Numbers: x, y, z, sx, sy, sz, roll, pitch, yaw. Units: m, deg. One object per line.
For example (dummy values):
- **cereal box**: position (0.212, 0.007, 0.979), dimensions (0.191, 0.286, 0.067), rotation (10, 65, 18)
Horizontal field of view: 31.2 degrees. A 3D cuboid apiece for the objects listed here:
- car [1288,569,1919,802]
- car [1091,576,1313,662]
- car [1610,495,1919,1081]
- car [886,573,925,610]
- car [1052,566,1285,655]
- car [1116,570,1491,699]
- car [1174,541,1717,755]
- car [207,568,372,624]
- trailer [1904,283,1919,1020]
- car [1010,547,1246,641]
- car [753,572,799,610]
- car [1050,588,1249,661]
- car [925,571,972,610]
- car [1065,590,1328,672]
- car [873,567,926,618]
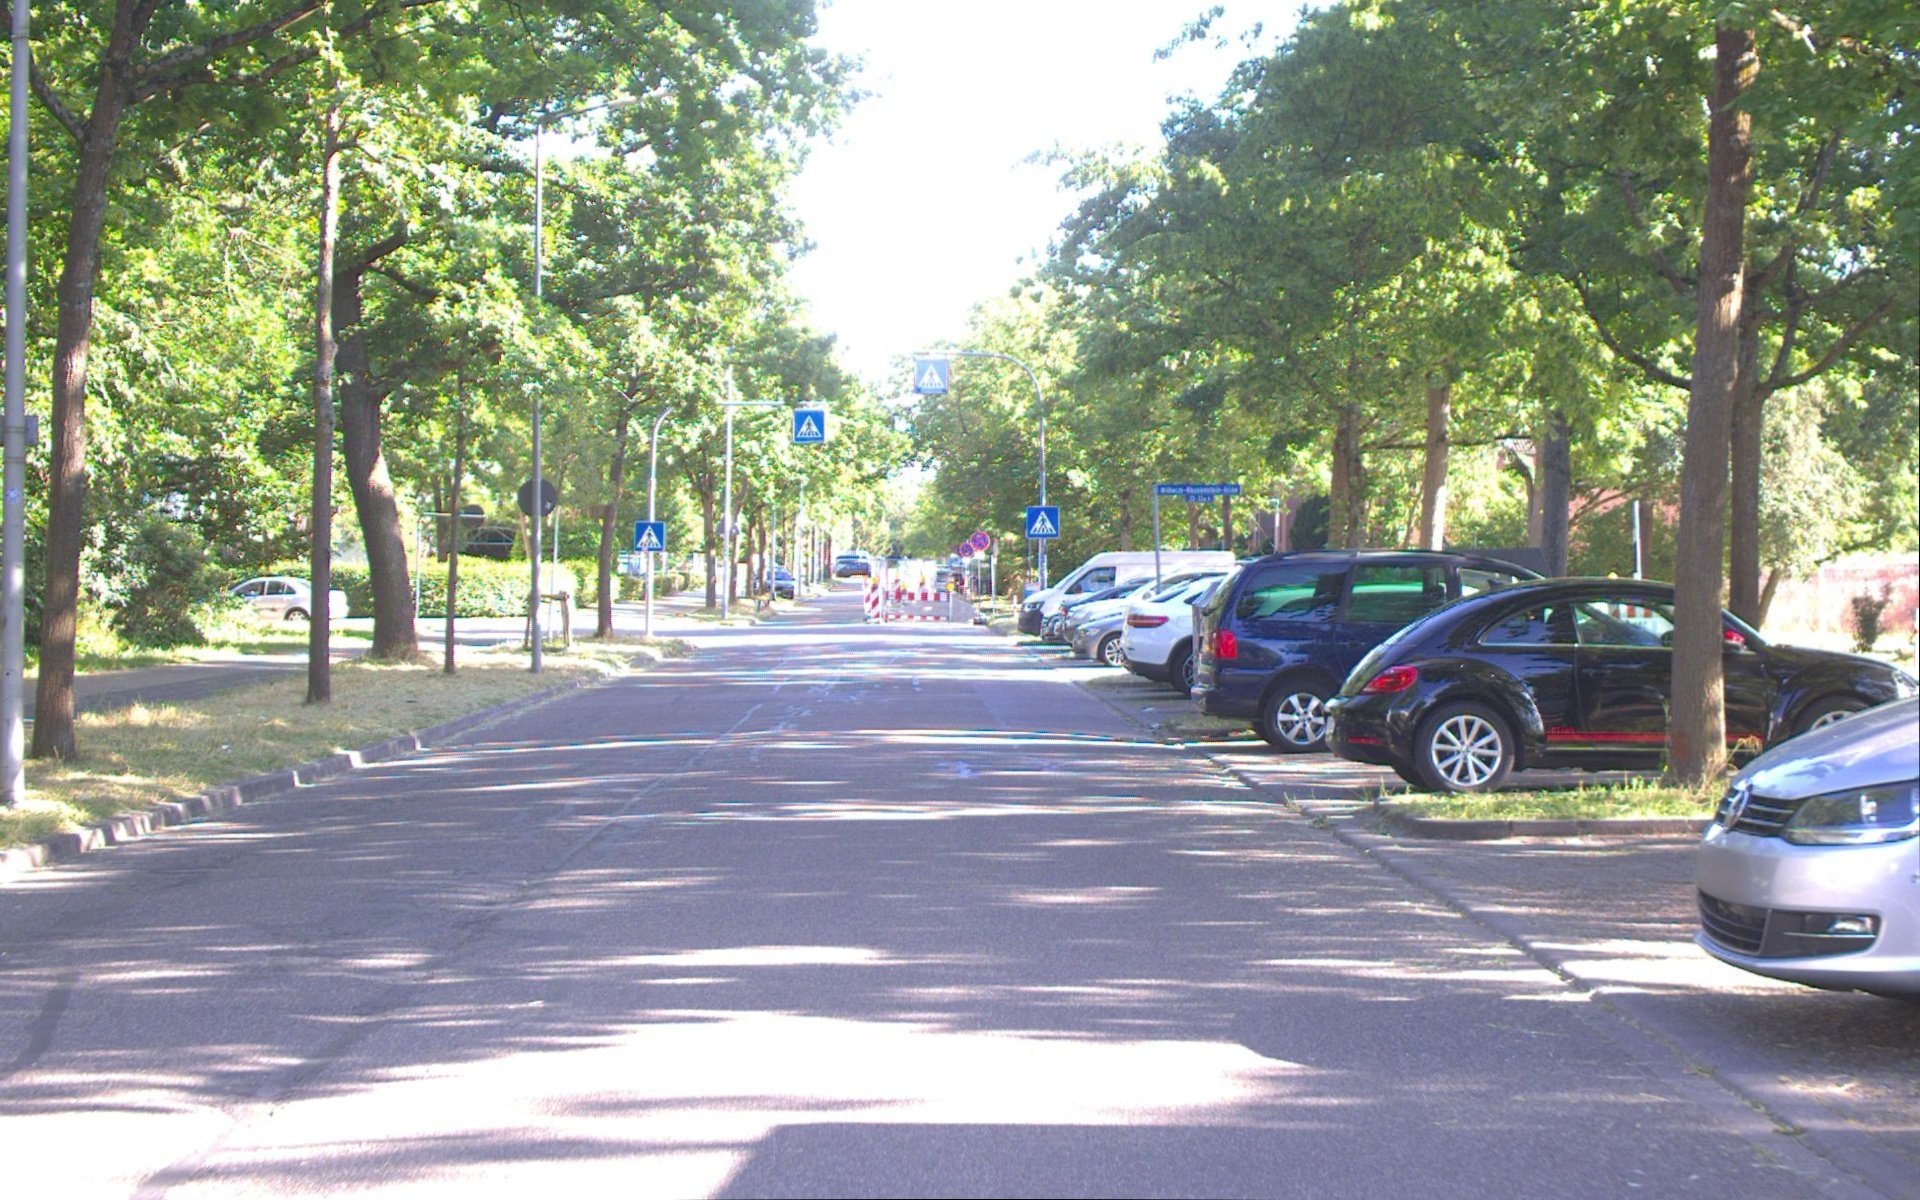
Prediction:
- **car**: position (4.509, 0.565, 23.983), dimensions (4.245, 1.514, 2.078), rotation (-1, 0, 1)
- **car**: position (4.421, 0.340, 63.150), dimensions (3.884, 1.492, 1.777), rotation (-1, 0, -1)
- **car**: position (4.620, 0.509, 11.104), dimensions (4.642, 1.716, 1.987), rotation (-1, 0, 0)
- **car**: position (-2.935, -0.458, 184.309), dimensions (1.993, 1.962, 4.000), rotation (1, 0, -1)
- **car**: position (4.070, 0.192, 67.685), dimensions (4.384, 1.645, 1.851), rotation (-1, 0, -2)
- **car**: position (4.421, 0.431, 44.770), dimensions (4.670, 1.575, 1.917), rotation (-1, 0, 0)
- **car**: position (4.244, 0.408, 30.594), dimensions (4.530, 1.795, 1.936), rotation (-1, 0, 0)
- **car**: position (-18.309, -0.104, 93.998), dimensions (3.988, 1.479, 1.999), rotation (1, 0, 7)
- **trailer**: position (5.425, 0.258, 8.311), dimensions (5.775, 2.310, 1.686), rotation (-1, 0, 2)
- **car**: position (3.777, -0.129, 77.995), dimensions (5.186, 2.098, 2.083), rotation (0, 0, -2)
- **car**: position (-8.603, -0.429, 161.127), dimensions (1.993, 1.711, 4.000), rotation (1, 0, -1)
- **car**: position (3.835, 0.492, 70.186), dimensions (3.987, 1.428, 1.901), rotation (0, 0, 1)
- **car**: position (-0.528, -0.432, 154.747), dimensions (1.993, 1.711, 4.000), rotation (1, 0, -1)
- **car**: position (4.093, 0.533, 60.080), dimensions (4.445, 1.385, 1.911), rotation (0, 0, -1)
- **car**: position (-2.373, -0.307, 133.888), dimensions (1.993, 1.926, 4.000), rotation (1, 0, -1)
